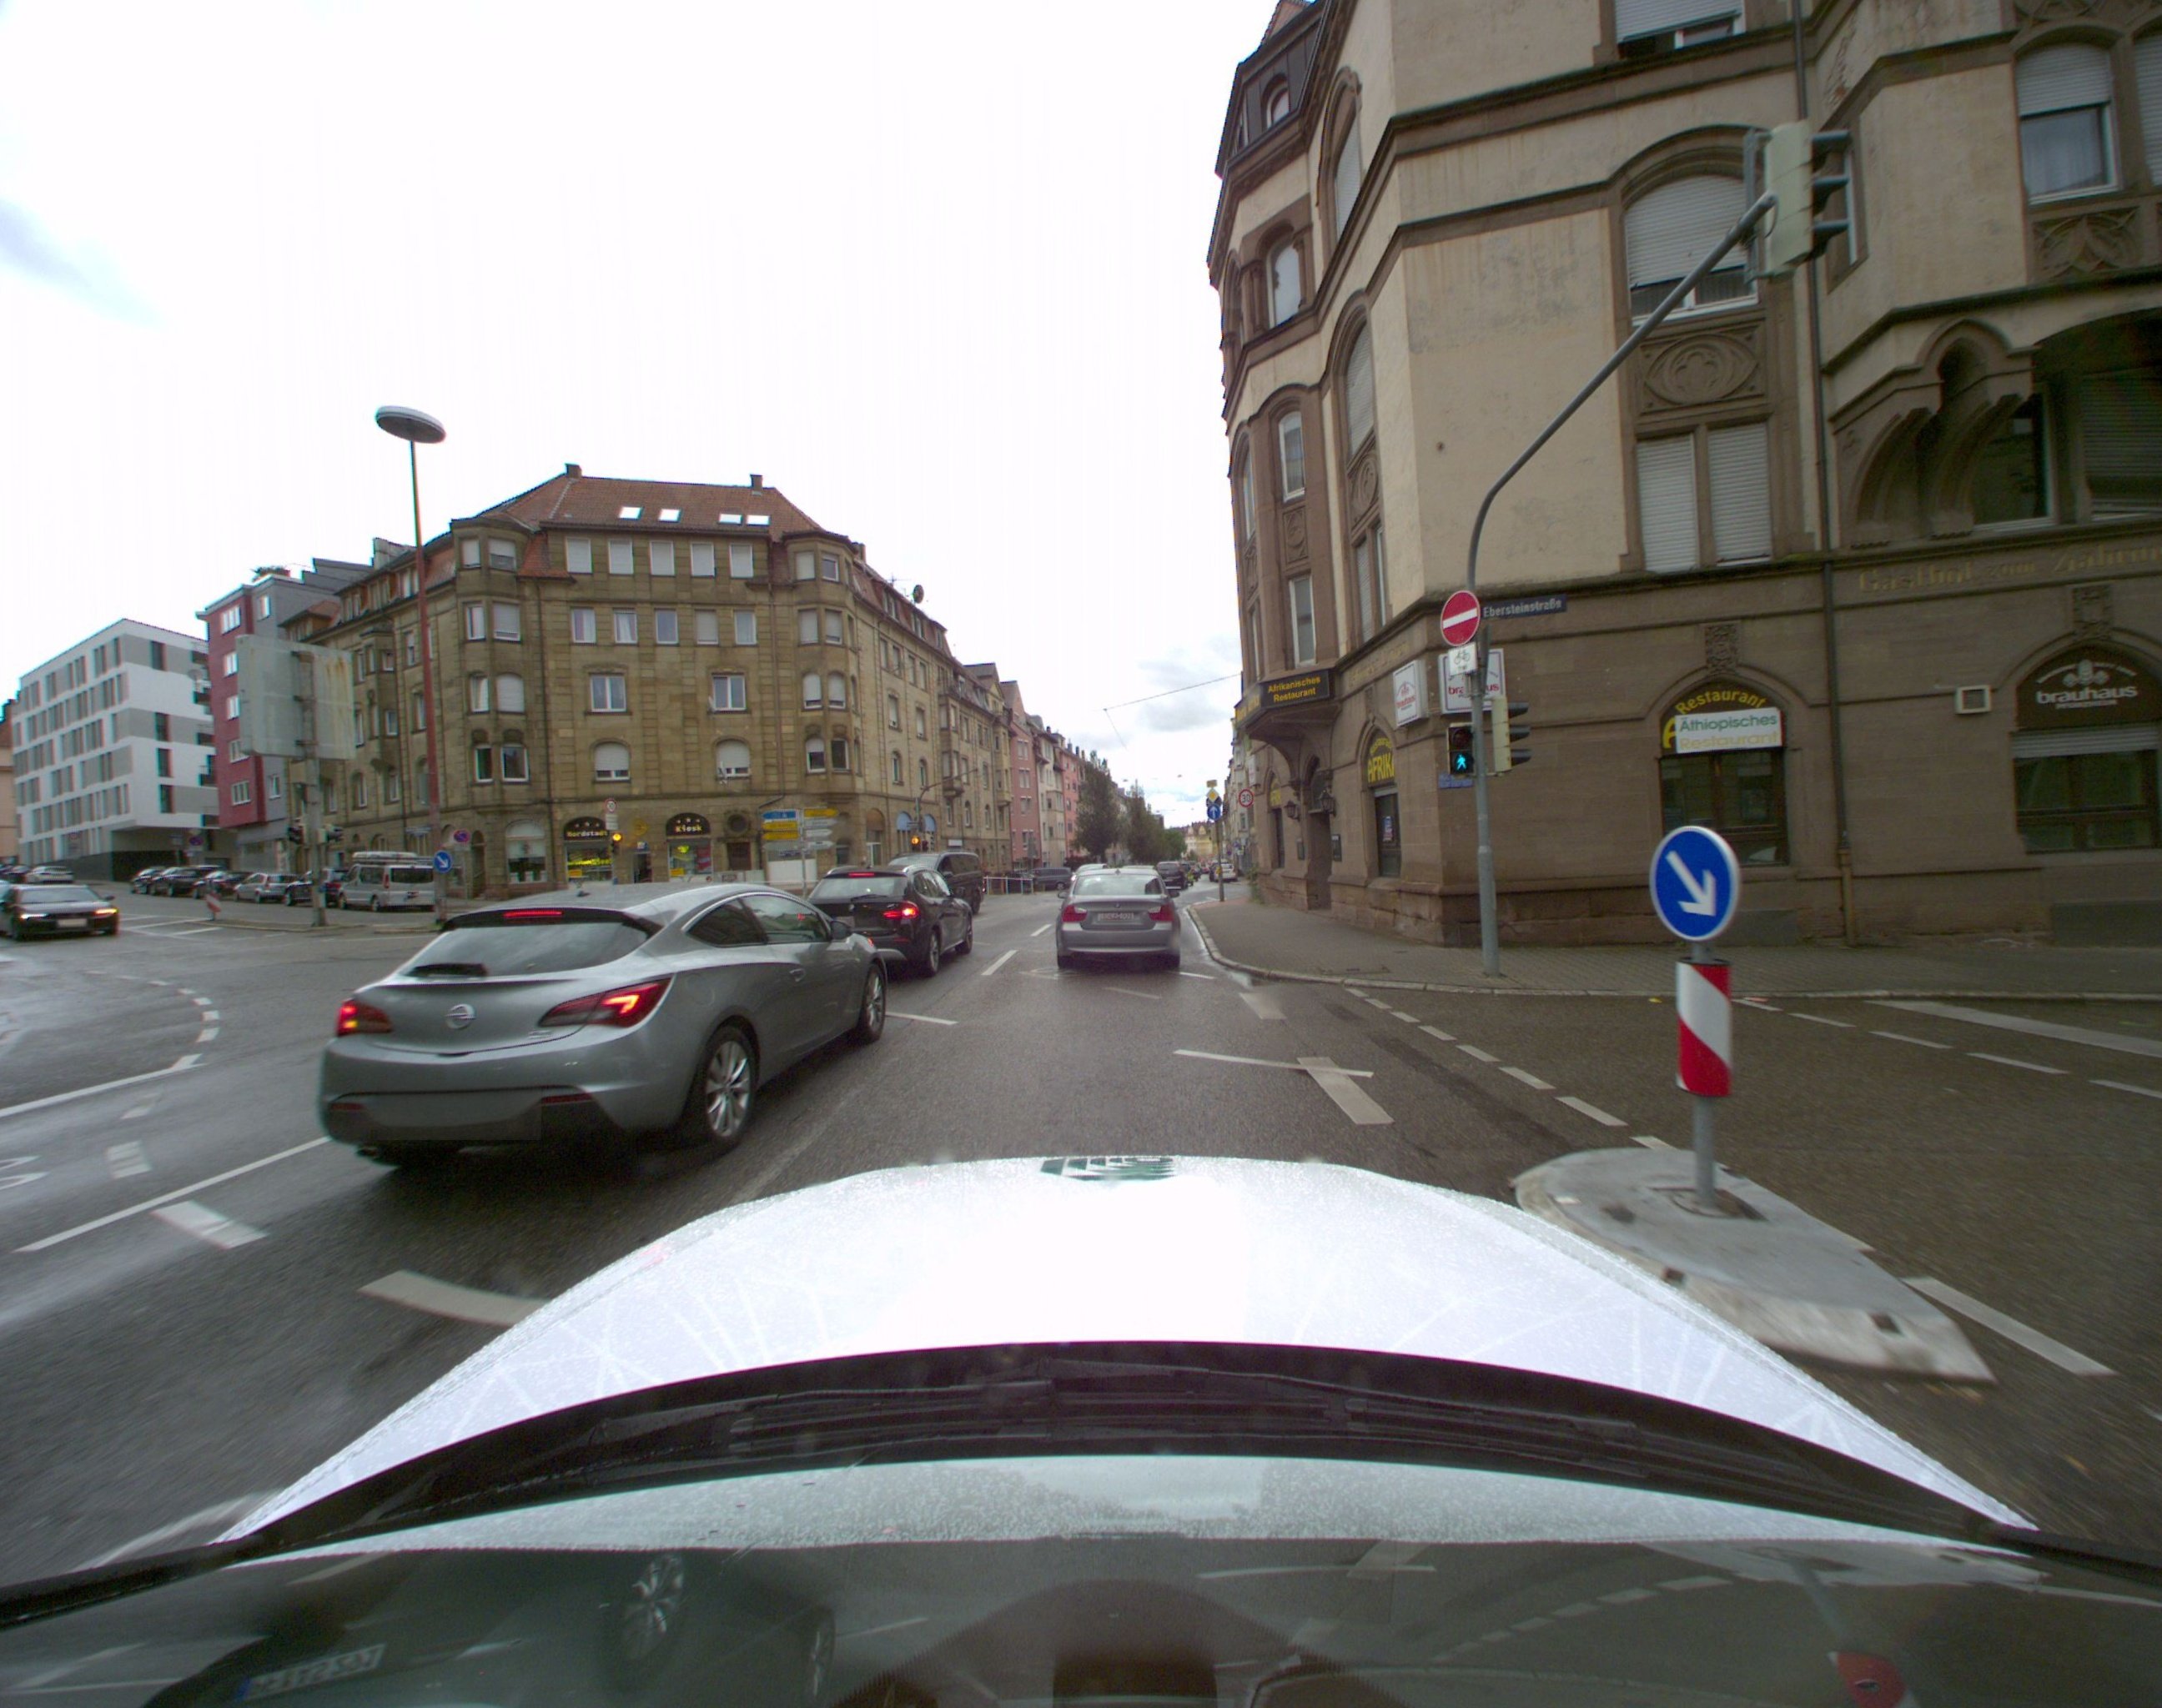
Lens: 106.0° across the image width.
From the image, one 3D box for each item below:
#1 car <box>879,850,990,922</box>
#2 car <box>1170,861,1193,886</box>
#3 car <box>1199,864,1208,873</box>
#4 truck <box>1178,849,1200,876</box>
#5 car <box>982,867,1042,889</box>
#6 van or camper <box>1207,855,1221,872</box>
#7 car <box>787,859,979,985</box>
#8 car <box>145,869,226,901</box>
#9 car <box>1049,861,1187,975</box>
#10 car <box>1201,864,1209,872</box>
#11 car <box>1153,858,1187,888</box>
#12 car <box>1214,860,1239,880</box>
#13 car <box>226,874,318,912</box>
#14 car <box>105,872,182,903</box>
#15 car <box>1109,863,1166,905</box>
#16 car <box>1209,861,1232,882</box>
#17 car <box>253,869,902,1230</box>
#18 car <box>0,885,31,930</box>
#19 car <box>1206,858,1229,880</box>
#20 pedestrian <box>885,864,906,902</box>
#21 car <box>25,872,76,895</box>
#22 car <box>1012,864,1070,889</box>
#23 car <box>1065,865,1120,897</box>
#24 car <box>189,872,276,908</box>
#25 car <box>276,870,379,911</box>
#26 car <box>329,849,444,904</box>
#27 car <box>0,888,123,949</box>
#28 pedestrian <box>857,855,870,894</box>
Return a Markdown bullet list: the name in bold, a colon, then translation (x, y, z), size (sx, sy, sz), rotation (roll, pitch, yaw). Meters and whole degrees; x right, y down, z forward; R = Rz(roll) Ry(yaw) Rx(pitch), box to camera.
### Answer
- **car**: translation (-4.156, 0.879, 23.769), size (1.731, 1.846, 4.158), rotation (-3, -1, 10)
- **car**: translation (6.832, 1.326, 55.416), size (1.442, 1.566, 3.337), rotation (-2, -2, 5)
- **car**: translation (26.065, 3.112, 173.258), size (1.868, 1.731, 4.688), rotation (-1, -1, 9)
- **truck**: translation (10.400, 0.837, 78.251), size (2.020, 2.413, 4.837), rotation (-2, -2, 8)
- **car**: translation (-5.196, 1.815, 61.611), size (4.123, 1.510, 1.878), rotation (-2, -1, 9)
- **van or camper**: translation (22.942, 1.683, 140.491), size (2.019, 2.869, 6.908), rotation (0, -1, 13)
- **car**: translation (-2.751, 0.912, 12.302), size (1.746, 1.535, 4.215), rotation (-1, -2, 1)
- **car**: translation (-49.238, 1.702, 44.766), size (4.162, 1.704, 2.012), rotation (-2, -1, 28)
- **car**: translation (0.501, 0.851, 12.480), size (1.763, 1.428, 3.740), rotation (-1, 0, 0)
- **car**: translation (29.469, 3.327, 193.930), size (1.868, 1.731, 4.451), rotation (-1, -1, 9)
- **car**: translation (4.696, 1.015, 43.193), size (1.689, 1.483, 3.799), rotation (-2, -2, 5)
- **car**: translation (11.765, 1.298, 66.070), size (1.789, 1.565, 4.502), rotation (-2, -1, 8)
- **car**: translation (-39.469, 1.894, 39.727), size (4.162, 1.704, 2.012), rotation (-2, -1, 28)
- **car**: translation (-54.382, 1.941, 47.226), size (4.162, 1.704, 2.012), rotation (-2, -1, 28)
- **car**: translation (2.144, 1.087, 30.090), size (1.671, 1.428, 3.751), rotation (-2, -2, 10)
- **car**: translation (12.234, 1.509, 71.642), size (1.868, 1.731, 4.688), rotation (-2, -1, 9)
- **car**: translation (-2.691, 0.905, 5.679), size (1.745, 1.483, 4.183), rotation (-2, -1, 2)
- **car**: translation (-40.371, 1.984, 29.855), size (4.247, 1.537, 1.749), rotation (-2, 1, 31)
- **car**: translation (12.982, 1.421, 77.599), size (1.908, 1.827, 5.021), rotation (-4, -2, 9)
- **pedestrian**: translation (-8.585, 1.326, 37.708), size (0.829, 1.702, 0.634), rotation (-1, -1, -21)
- **car**: translation (-79.448, 2.264, 62.782), size (4.162, 1.704, 1.708), rotation (-2, -1, 28)
- **car**: translation (-3.235, 1.837, 66.617), size (4.660, 1.939, 1.862), rotation (-1, -1, -1)
- **car**: translation (0.677, 1.391, 42.997), size (1.611, 1.518, 3.891), rotation (-2, 0, 21)
- **car**: translation (-43.897, 1.855, 42.135), size (4.162, 1.704, 2.012), rotation (-2, -1, 28)
- **car**: translation (-33.435, 1.597, 36.118), size (4.326, 1.704, 2.012), rotation (-2, -1, 28)
- **car**: translation (-28.989, 0.937, 33.958), size (4.743, 2.169, 2.012), rotation (-2, -1, 28)
- **car**: translation (-29.288, 1.781, 23.287), size (3.972, 1.491, 1.778), rotation (-2, 1, 31)
- **pedestrian**: translation (-10.088, 0.957, 37.794), size (0.523, 1.774, 0.690), rotation (-1, -1, -15)
